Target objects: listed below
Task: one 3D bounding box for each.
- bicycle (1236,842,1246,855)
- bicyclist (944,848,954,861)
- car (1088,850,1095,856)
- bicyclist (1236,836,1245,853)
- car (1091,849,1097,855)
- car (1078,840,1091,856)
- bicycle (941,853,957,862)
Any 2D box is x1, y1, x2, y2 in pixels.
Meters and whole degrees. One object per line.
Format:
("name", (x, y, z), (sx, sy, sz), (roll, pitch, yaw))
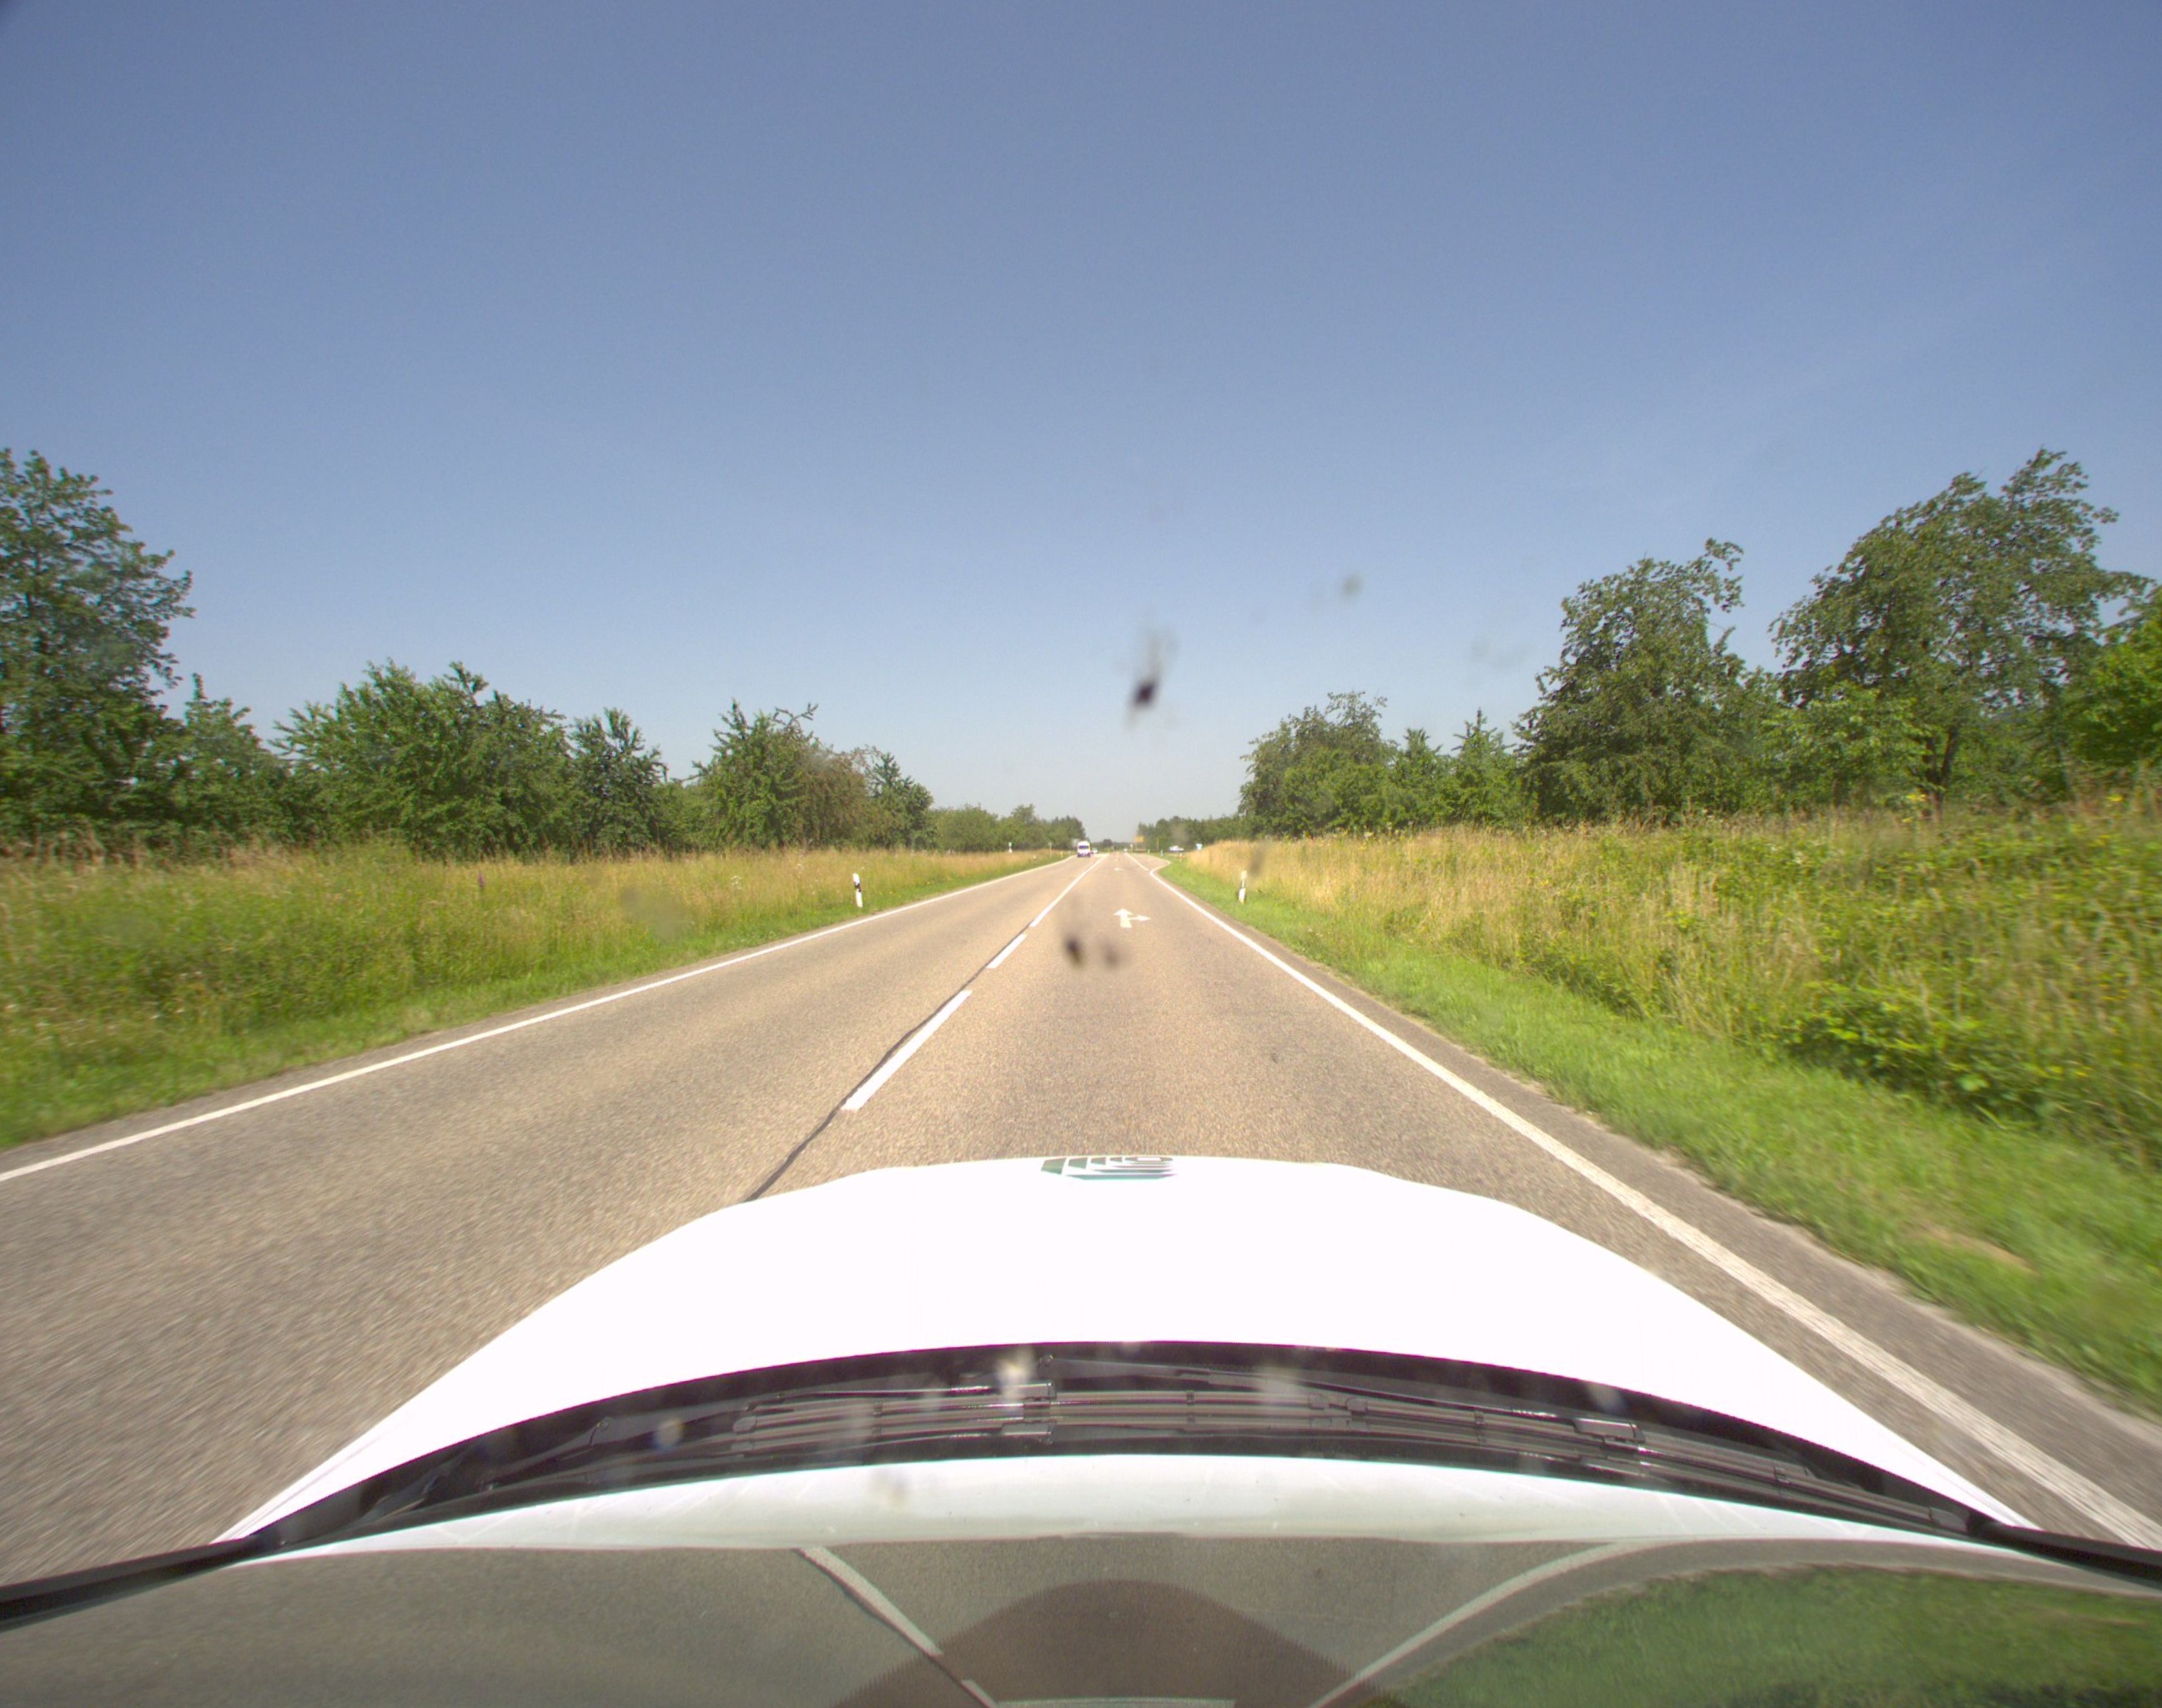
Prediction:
("bicycle", (18.393, -0.637, 93.857), (0.747, 1.418, 2.222), (-2, 0, 2))
("bicyclist", (-14.573, 0.057, 89.977), (0.852, 1.414, 0.647), (-1, -1, 38))
("car", (2.588, -0.335, 206.081), (1.619, 1.457, 3.622), (-1, 0, 1))
("bicyclist", (18.365, -1.108, 93.868), (0.747, 1.929, 0.828), (-2, 0, 2))
("car", (3.898, -0.597, 236.917), (1.669, 1.494, 4.137), (-1, 0, 0))
("car", (0.590, -0.994, 136.393), (2.153, 2.669, 6.144), (-1, 0, 1))
("bicycle", (-14.583, 0.404, 89.978), (1.930, 0.989, 0.655), (-1, -1, 38))
